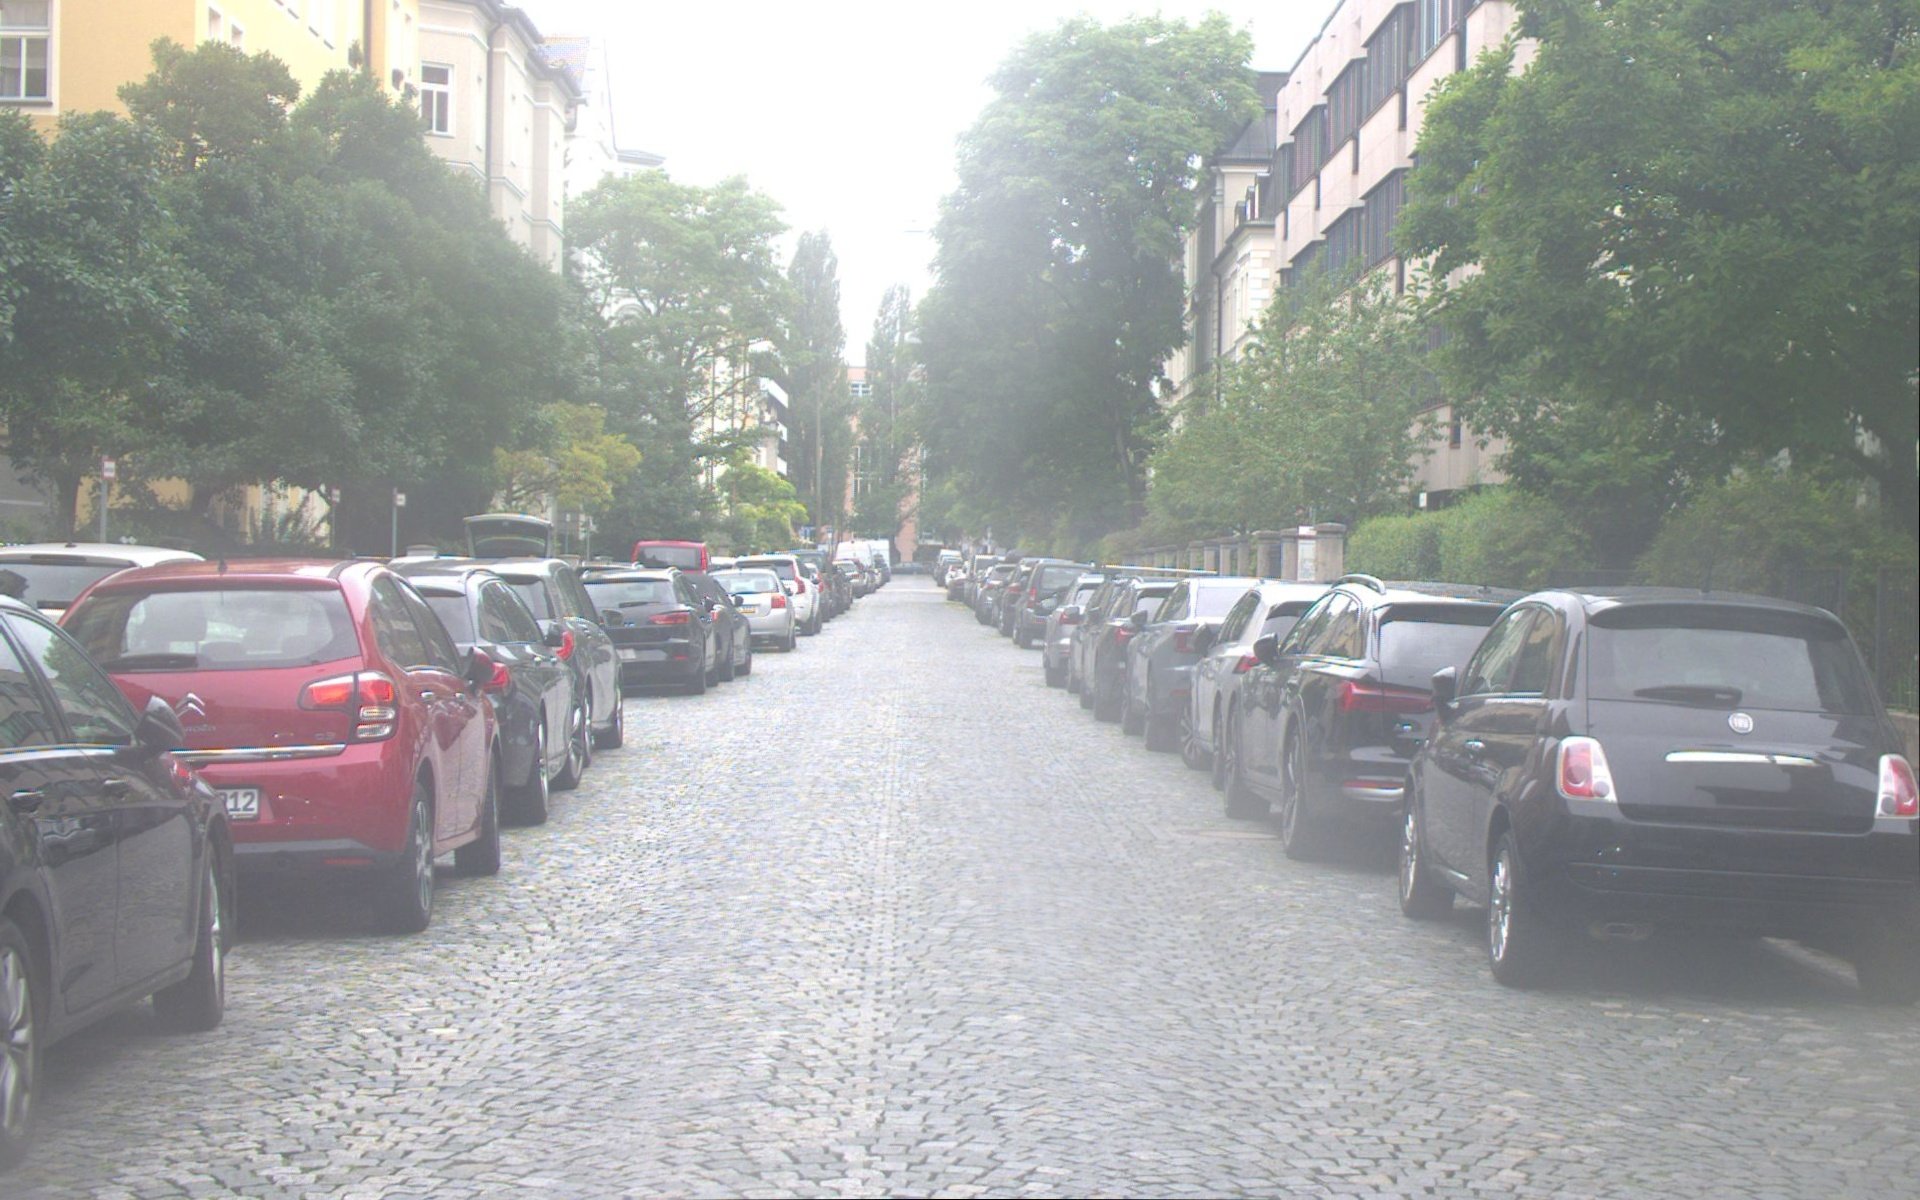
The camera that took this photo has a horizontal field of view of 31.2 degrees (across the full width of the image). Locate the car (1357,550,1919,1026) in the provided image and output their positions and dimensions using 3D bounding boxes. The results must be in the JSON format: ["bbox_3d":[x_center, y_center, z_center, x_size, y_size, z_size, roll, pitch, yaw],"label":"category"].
[{"bbox_3d":[2.852,0.659,14.218,1.922,1.629,4.046,2,0,0],"label":"car"}]

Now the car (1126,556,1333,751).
[{"bbox_3d":[2.270,0.417,29.442,1.597,1.497,3.261,-3,0,3],"label":"car"}]

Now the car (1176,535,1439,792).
[{"bbox_3d":[2.467,0.406,24.607,1.660,1.629,3.447,-3,0,5],"label":"car"}]

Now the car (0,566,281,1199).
[{"bbox_3d":[-3.253,0.734,9.582,1.922,1.541,4.000,-3,0,-1],"label":"car"}]

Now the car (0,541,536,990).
[{"bbox_3d":[-3.067,0.631,15.075,1.922,1.629,3.806,-3,0,-1],"label":"car"}]

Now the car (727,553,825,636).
[{"bbox_3d":[-3.906,-0.123,73.632,1.922,1.629,3.739,-3,0,-2],"label":"car"}]

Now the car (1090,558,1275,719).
[{"bbox_3d":[2.185,0.356,34.500,1.660,1.451,3.448,-3,0,2],"label":"car"}]

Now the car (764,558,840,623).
[{"bbox_3d":[-4.274,-0.272,93.468,1.922,1.629,3.739,-3,0,-2],"label":"car"}]

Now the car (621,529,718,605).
[{"bbox_3d":[-6.675,-0.753,79.302,1.922,1.629,3.739,-3,0,-2],"label":"car"}]

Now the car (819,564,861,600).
[{"bbox_3d":[-5.867,-0.863,168.101,1.922,1.629,3.739,-3,0,-2],"label":"car"}]

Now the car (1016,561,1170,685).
[{"bbox_3d":[1.683,0.274,44.557,1.660,1.460,3.448,-3,0,-2],"label":"car"}]

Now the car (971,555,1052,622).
[{"bbox_3d":[1.344,-0.309,91.252,1.922,1.629,3.739,-3,0,-2],"label":"car"}]

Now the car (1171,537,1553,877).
[{"bbox_3d":[2.039,0.502,18.292,1.660,1.630,3.539,0,0,1],"label":"car"}]

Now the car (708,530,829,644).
[{"bbox_3d":[-3.349,-0.233,60.660,1.922,1.832,3.739,-3,0,-2],"label":"car"}]

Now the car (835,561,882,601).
[{"bbox_3d":[-4.418,-0.815,149.974,1.922,1.629,3.739,-3,0,-2],"label":"car"}]

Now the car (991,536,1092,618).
[{"bbox_3d":[1.751,-0.503,74.726,1.922,1.629,3.739,-3,0,-2],"label":"car"}]

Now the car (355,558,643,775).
[{"bbox_3d":[-3.424,0.457,26.067,1.660,1.529,3.484,0,0,1],"label":"car"}]

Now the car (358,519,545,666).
[{"bbox_3d":[-5.915,-0.098,40.351,1.778,1.630,3.739,0,0,-2],"label":"car"}]

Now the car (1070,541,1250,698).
[{"bbox_3d":[2.251,0.207,39.519,1.660,1.629,3.448,-3,0,-2],"label":"car"}]

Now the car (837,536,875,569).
[{"bbox_3d":[-5.540,-2.526,182.694,1.922,1.629,3.739,-3,0,-2],"label":"car"}]

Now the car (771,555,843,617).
[{"bbox_3d":[-4.380,-0.408,98.625,1.922,1.629,3.739,-3,0,-2],"label":"car"}]

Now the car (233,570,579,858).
[{"bbox_3d":[-3.087,0.597,19.575,1.432,1.455,2.650,-3,0,1],"label":"car"}]

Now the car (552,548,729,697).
[{"bbox_3d":[-3.657,0.234,39.869,1.921,1.630,3.739,0,0,-4],"label":"car"}]

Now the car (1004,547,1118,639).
[{"bbox_3d":[1.937,-0.142,66.783,1.922,1.629,3.739,-3,0,-2],"label":"car"}]

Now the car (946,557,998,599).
[{"bbox_3d":[0.486,-0.897,142.209,1.922,1.629,3.739,-3,0,-2],"label":"car"}]

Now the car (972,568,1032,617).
[{"bbox_3d":[1.509,-0.283,124.898,1.922,1.629,3.739,-3,0,-2],"label":"car"}]
